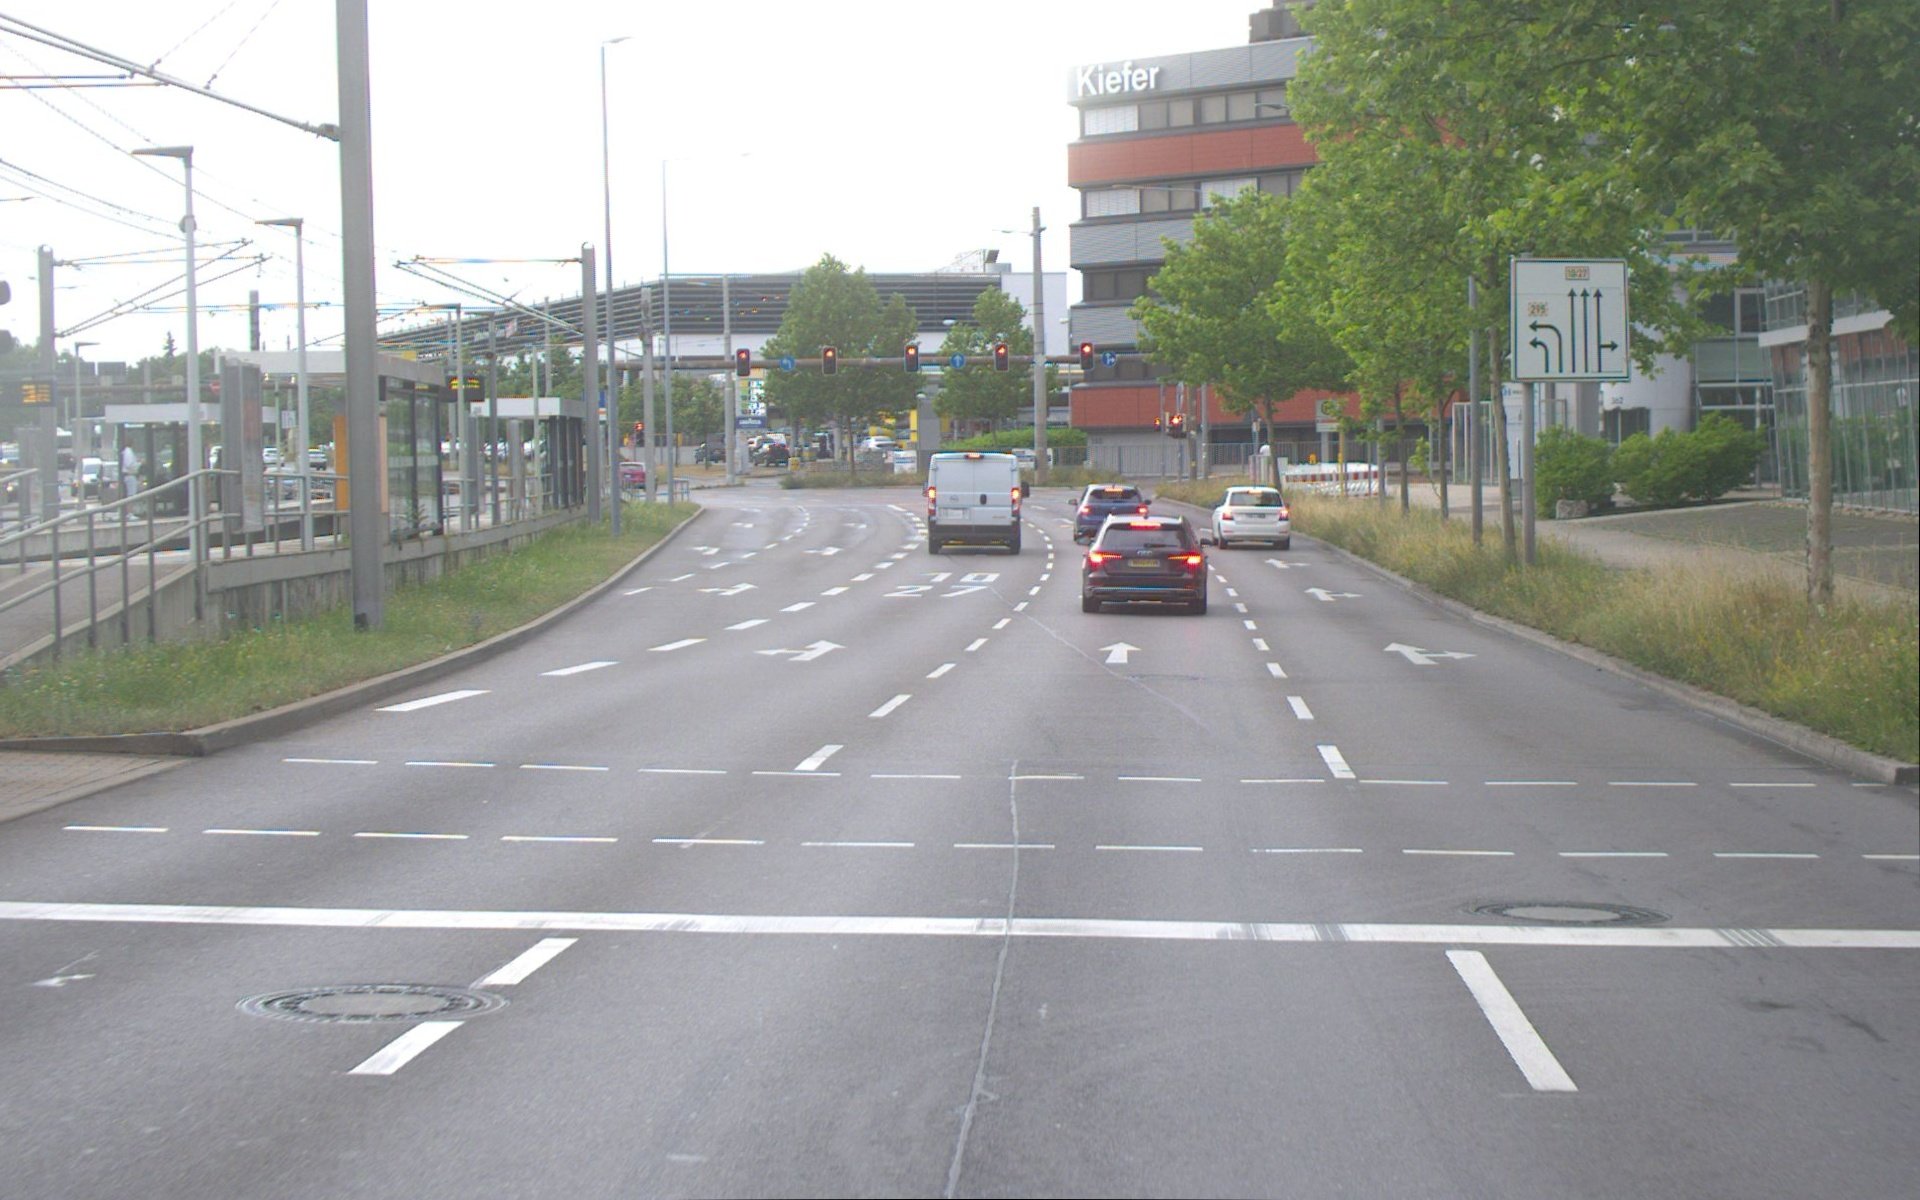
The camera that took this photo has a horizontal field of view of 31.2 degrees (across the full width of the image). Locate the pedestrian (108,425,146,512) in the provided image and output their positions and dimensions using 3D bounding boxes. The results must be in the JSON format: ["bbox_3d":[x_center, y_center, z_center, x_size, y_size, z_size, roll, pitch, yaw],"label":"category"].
[{"bbox_3d":[-19.820,-3.129,81.822,0.689,2.073,0.714,0,2,3],"label":"pedestrian"}]

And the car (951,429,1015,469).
[{"bbox_3d":[1.283,-8.500,193.841,1.993,2.007,4.000,0,-1,-26],"label":"car"}]

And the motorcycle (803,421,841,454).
[{"bbox_3d":[-9.560,-11.281,238.474,1.993,2.007,4.001,0,-1,-12],"label":"motorcycle"}]

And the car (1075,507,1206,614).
[{"bbox_3d":[2.702,-0.624,50.558,1.764,1.458,4.626,1,2,5],"label":"car"}]

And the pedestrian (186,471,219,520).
[{"bbox_3d":[-19.608,-2.713,88.970,0.726,1.248,0.731,0,1,-3],"label":"pedestrian"}]

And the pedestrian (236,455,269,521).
[{"bbox_3d":[-19.210,-3.039,93.372,0.752,1.745,0.764,0,-1,-1],"label":"pedestrian"}]

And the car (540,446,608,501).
[{"bbox_3d":[-13.675,-4.483,122.065,1.993,1.802,3.848,3,2,-2],"label":"car"}]

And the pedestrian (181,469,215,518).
[{"bbox_3d":[-19.549,-2.728,88.207,0.726,1.248,0.731,0,1,-3],"label":"pedestrian"}]

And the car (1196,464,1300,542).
[{"bbox_3d":[6.779,-2.317,81.299,2.021,1.763,4.001,0,3,-1],"label":"car"}]

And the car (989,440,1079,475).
[{"bbox_3d":[3.469,-6.699,161.838,2.022,1.617,3.998,-1,2,-42],"label":"car"}]

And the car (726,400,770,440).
[{"bbox_3d":[-12.278,-10.396,198.905,1.993,2.007,4.001,0,-1,-12],"label":"car"}]

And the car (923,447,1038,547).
[{"bbox_3d":[0.448,-2.332,77.604,2.511,2.169,5.150,0,2,0],"label":"car"}]

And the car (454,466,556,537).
[{"bbox_3d":[-10.739,-2.346,81.323,1.993,1.447,3.849,0,5,-2],"label":"car"}]

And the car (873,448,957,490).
[{"bbox_3d":[-2.235,-6.512,170.843,1.994,2.007,3.998,1,2,-42],"label":"car"}]

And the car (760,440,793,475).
[{"bbox_3d":[-11.465,-8.879,214.740,1.817,2.007,3.471,0,-1,-7],"label":"car"}]

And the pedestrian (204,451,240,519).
[{"bbox_3d":[-18.748,-2.910,87.366,0.729,1.709,0.831,0,1,0],"label":"pedestrian"}]

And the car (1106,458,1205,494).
[{"bbox_3d":[8.902,-5.662,157.020,2.022,1.617,4.324,-1,2,-42],"label":"car"}]

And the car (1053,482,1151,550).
[{"bbox_3d":[3.454,-2.064,84.158,2.021,1.617,4.001,0,2,-3],"label":"car"}]

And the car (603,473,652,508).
[{"bbox_3d":[-15.936,-5.232,164.690,2.020,1.617,4.001,0,2,-11],"label":"car"}]
